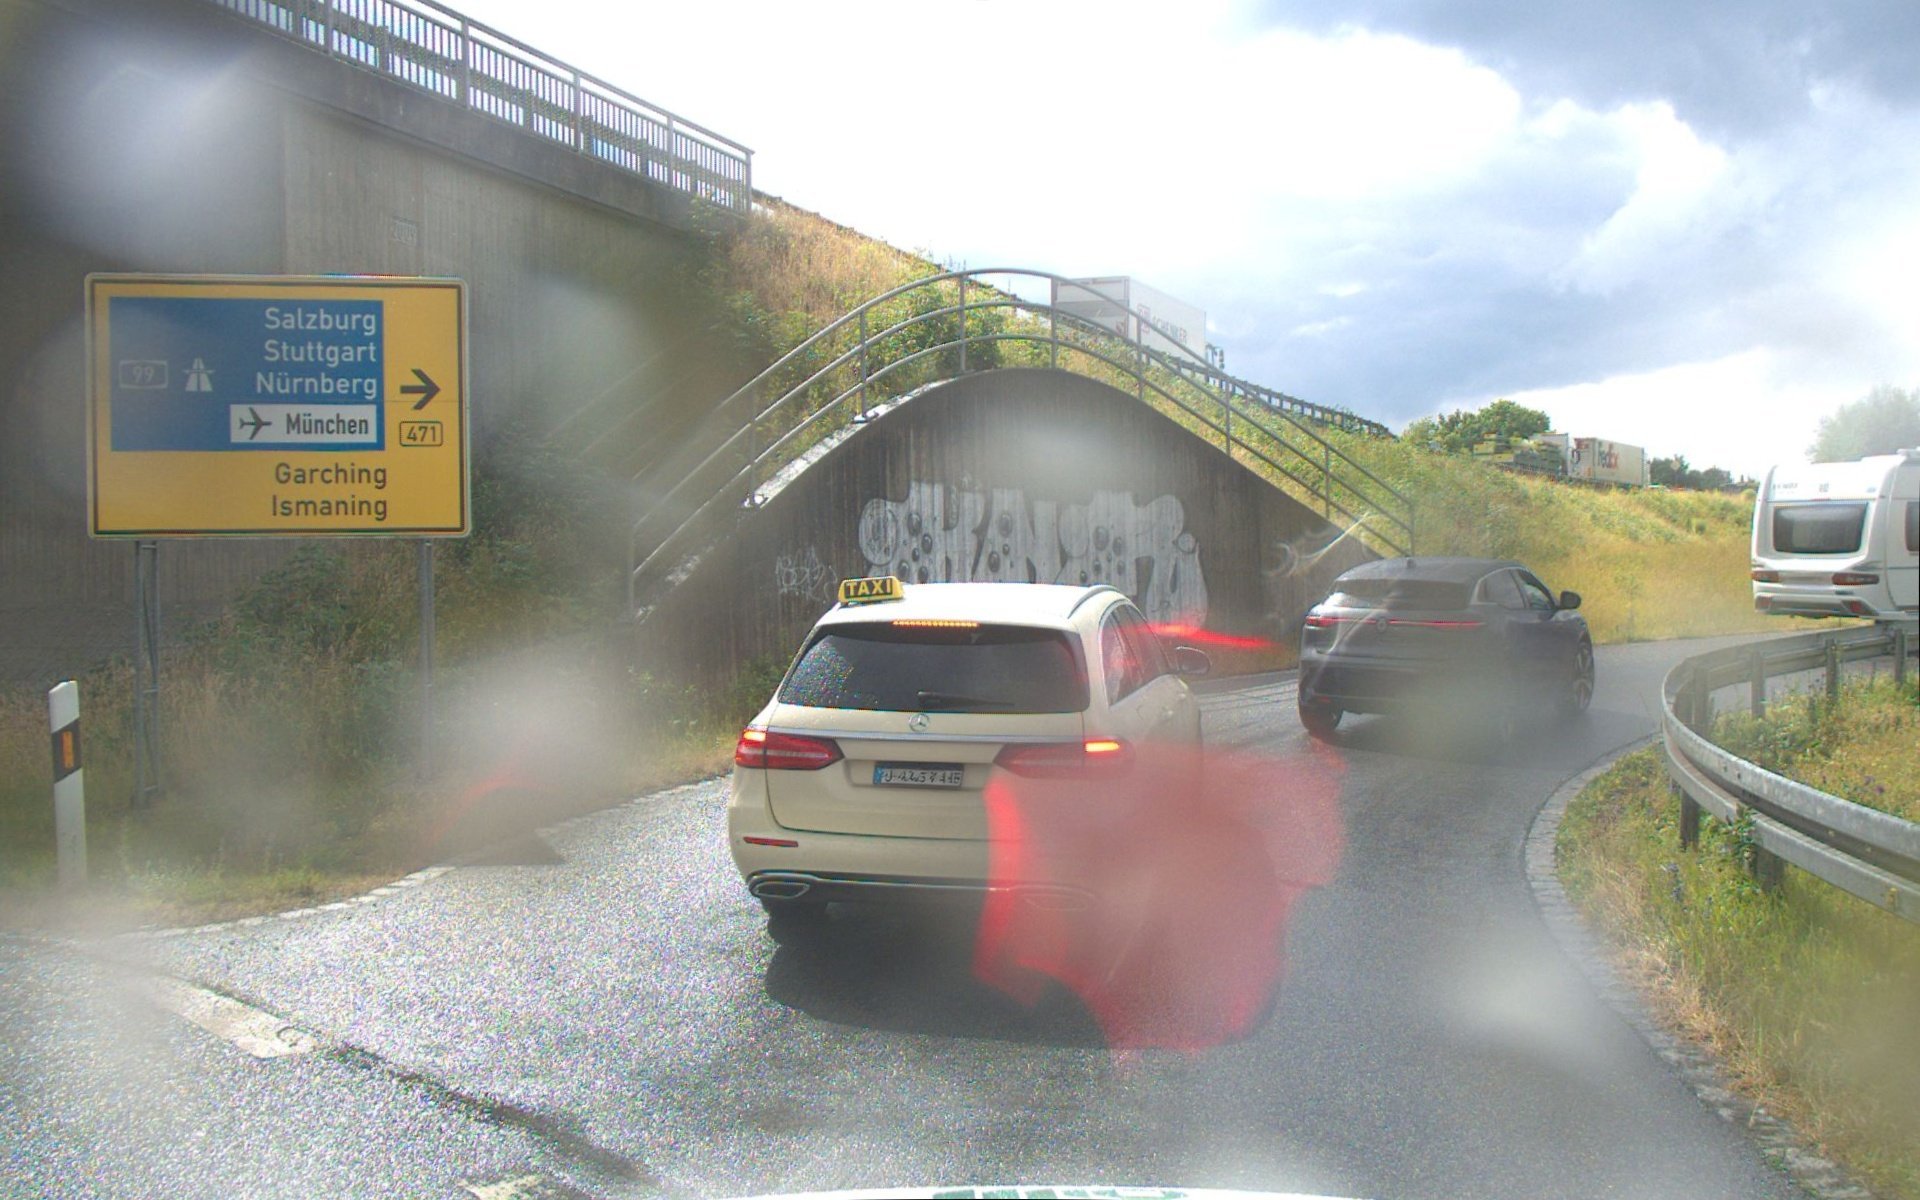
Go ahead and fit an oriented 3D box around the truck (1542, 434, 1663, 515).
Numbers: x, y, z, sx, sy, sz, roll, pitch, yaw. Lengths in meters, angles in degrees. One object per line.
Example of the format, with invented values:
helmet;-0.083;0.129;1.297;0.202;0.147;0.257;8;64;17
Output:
truck;47.569;-9.024;121.826;4.382;4.581;19.319;1;0;33

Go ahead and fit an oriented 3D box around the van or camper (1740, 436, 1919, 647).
van or camper;14.485;-0.923;24.001;5.898;2.776;2.423;-2;3;-22

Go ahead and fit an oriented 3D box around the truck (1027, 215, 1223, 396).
truck;5.447;-9.084;52.482;3.118;4.035;9.227;1;0;26

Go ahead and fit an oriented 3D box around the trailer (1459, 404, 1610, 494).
trailer;37.008;-9.360;105.583;4.336;4.025;20.158;1;0;33

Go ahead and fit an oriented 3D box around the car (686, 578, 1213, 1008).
car;0.283;0.689;8.325;1.875;1.534;4.600;0;0;10

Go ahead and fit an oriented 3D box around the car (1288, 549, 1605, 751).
car;4.499;0.333;14.911;1.687;1.551;3.989;1;2;33
